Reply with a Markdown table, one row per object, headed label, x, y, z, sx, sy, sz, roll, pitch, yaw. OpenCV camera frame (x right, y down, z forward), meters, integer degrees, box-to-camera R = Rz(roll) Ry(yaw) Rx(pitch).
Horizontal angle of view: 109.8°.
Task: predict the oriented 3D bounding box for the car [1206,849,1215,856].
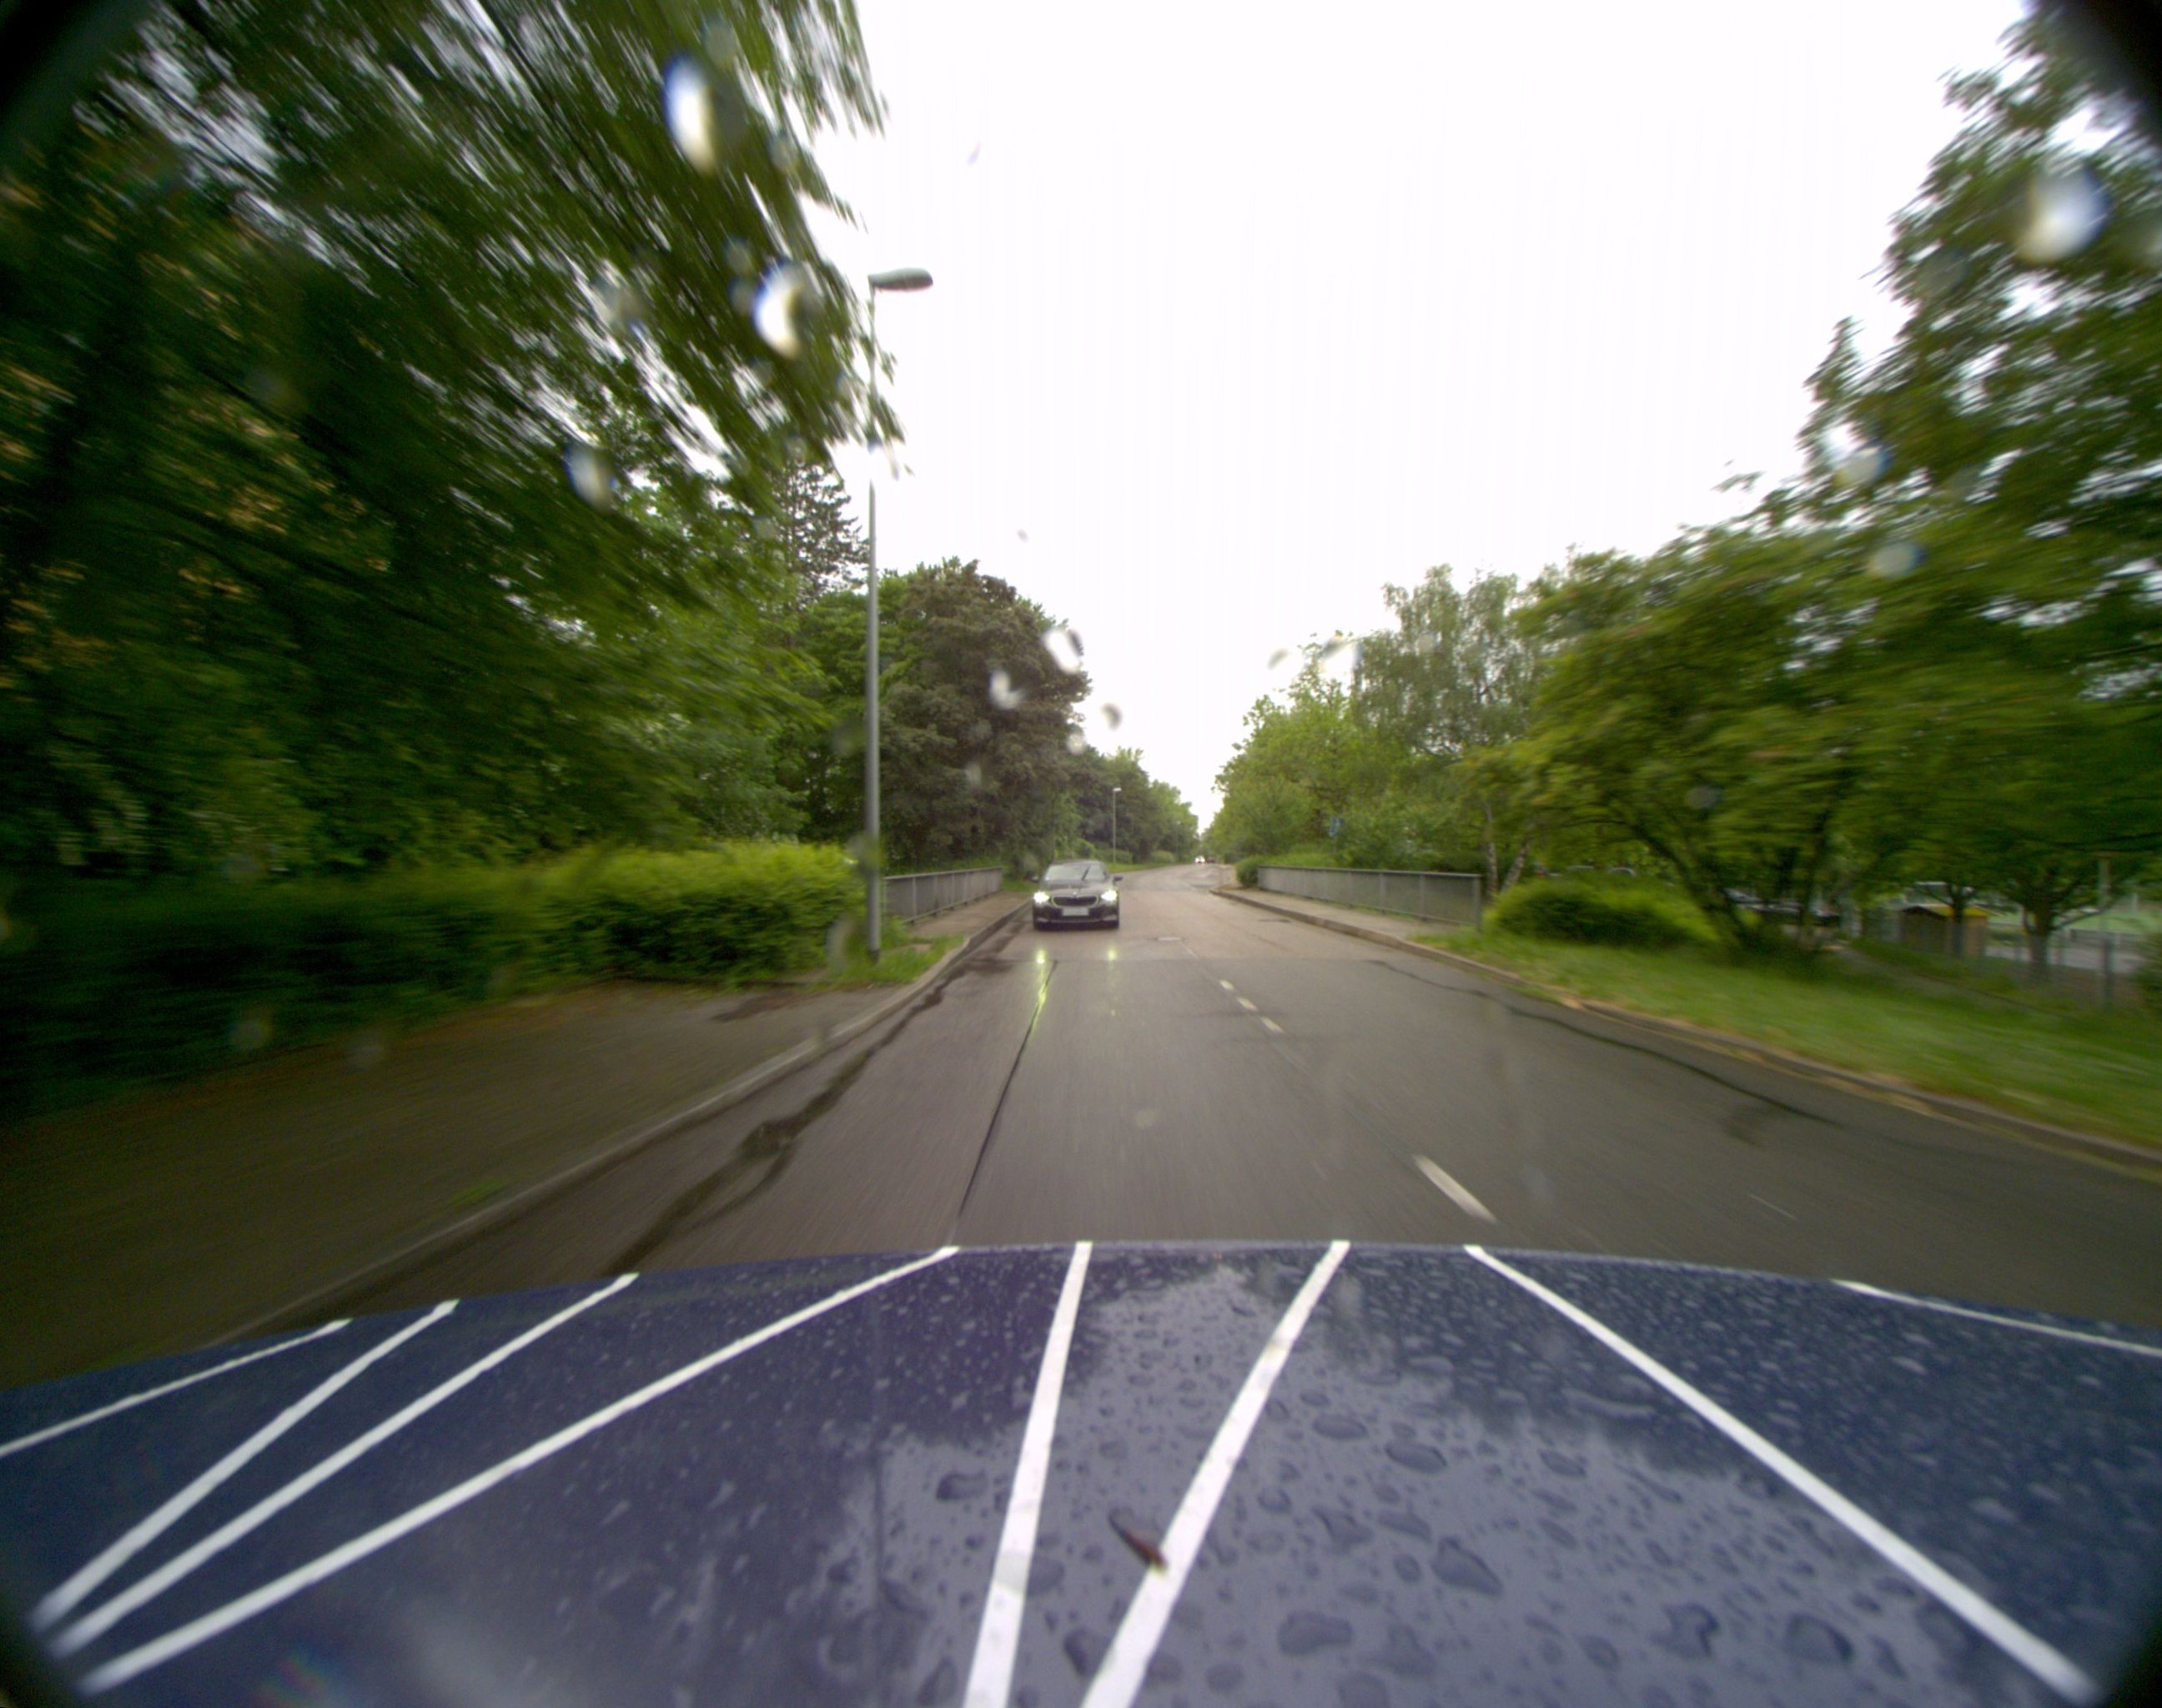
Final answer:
| label | x | y | z | sx | sy | sz | roll | pitch | yaw |
| --- | --- | --- | --- | --- | --- | --- | --- | --- | --- |
| car | 30.478 | -0.325 | 178.671 | 1.829 | 1.456 | 4.004 | 1 | 1 | 12 |

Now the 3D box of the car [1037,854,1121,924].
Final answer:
| label | x | y | z | sx | sy | sz | roll | pitch | yaw |
| --- | --- | --- | --- | --- | --- | --- | --- | --- | --- |
| car | 0.017 | 0.790 | 19.394 | 1.832 | 1.499 | 4.498 | -2 | 0 | 2 |

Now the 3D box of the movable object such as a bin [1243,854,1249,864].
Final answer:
| label | x | y | z | sx | sy | sz | roll | pitch | yaw |
| --- | --- | --- | --- | --- | --- | --- | --- | --- | --- |
| movable object such as a bin | 18.702 | 0.544 | 85.971 | 0.567 | 1.092 | 0.672 | -3 | 0 | 14 |
